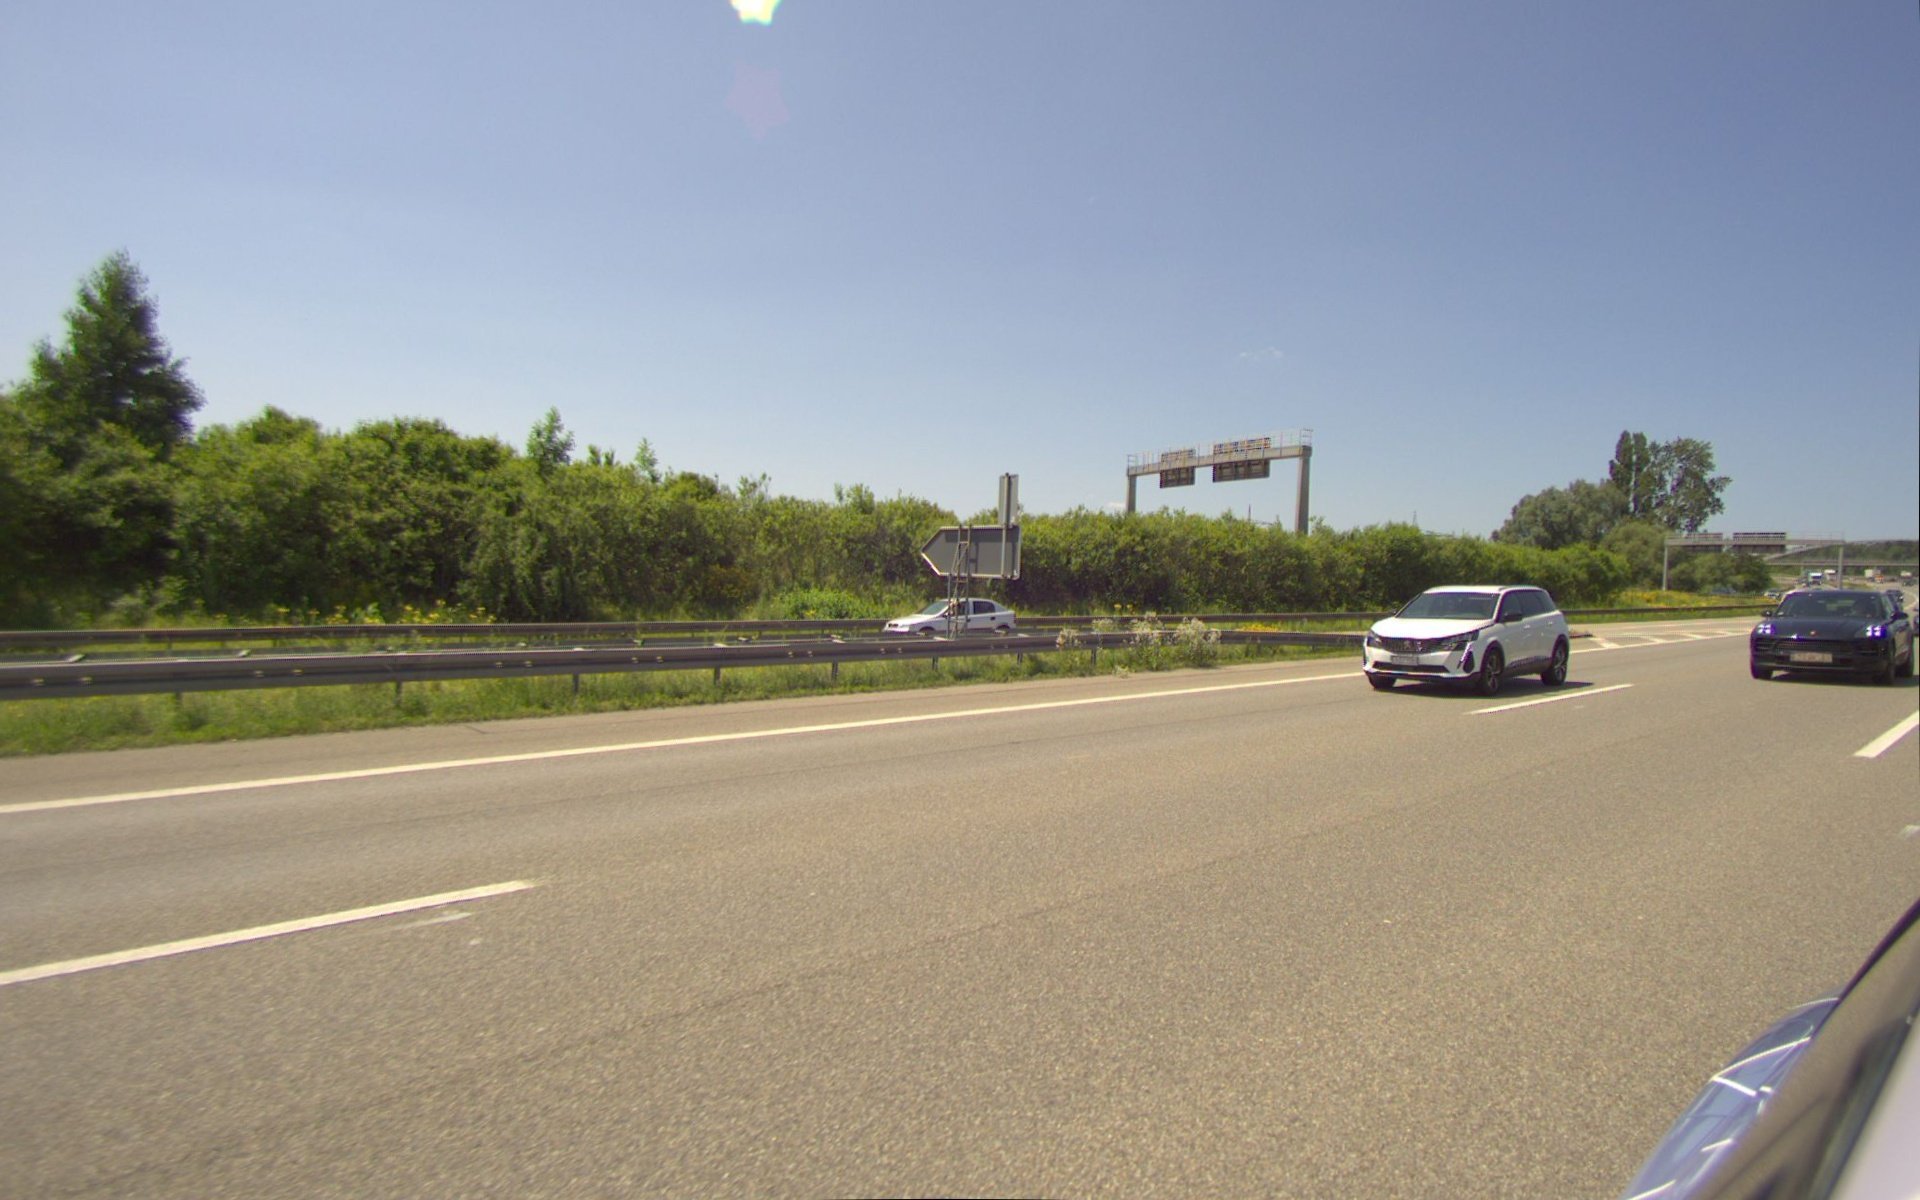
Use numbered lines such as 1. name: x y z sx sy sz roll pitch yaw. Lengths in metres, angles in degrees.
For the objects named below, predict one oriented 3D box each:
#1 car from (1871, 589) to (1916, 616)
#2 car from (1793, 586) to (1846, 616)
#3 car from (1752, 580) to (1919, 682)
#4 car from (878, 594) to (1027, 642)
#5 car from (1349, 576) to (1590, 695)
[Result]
1. car: 54.067 0.117 58.574 3.935 1.489 1.748 -1 1 -45
2. car: 61.177 0.056 71.992 4.677 2.039 1.999 0 1 -39
3. car: 16.252 0.479 18.535 4.537 1.650 1.981 0 1 -42
4. car: -0.203 0.501 29.831 3.998 1.296 1.901 0 1 -33
5. car: 8.258 0.476 16.217 4.536 1.650 1.897 0 1 -41
